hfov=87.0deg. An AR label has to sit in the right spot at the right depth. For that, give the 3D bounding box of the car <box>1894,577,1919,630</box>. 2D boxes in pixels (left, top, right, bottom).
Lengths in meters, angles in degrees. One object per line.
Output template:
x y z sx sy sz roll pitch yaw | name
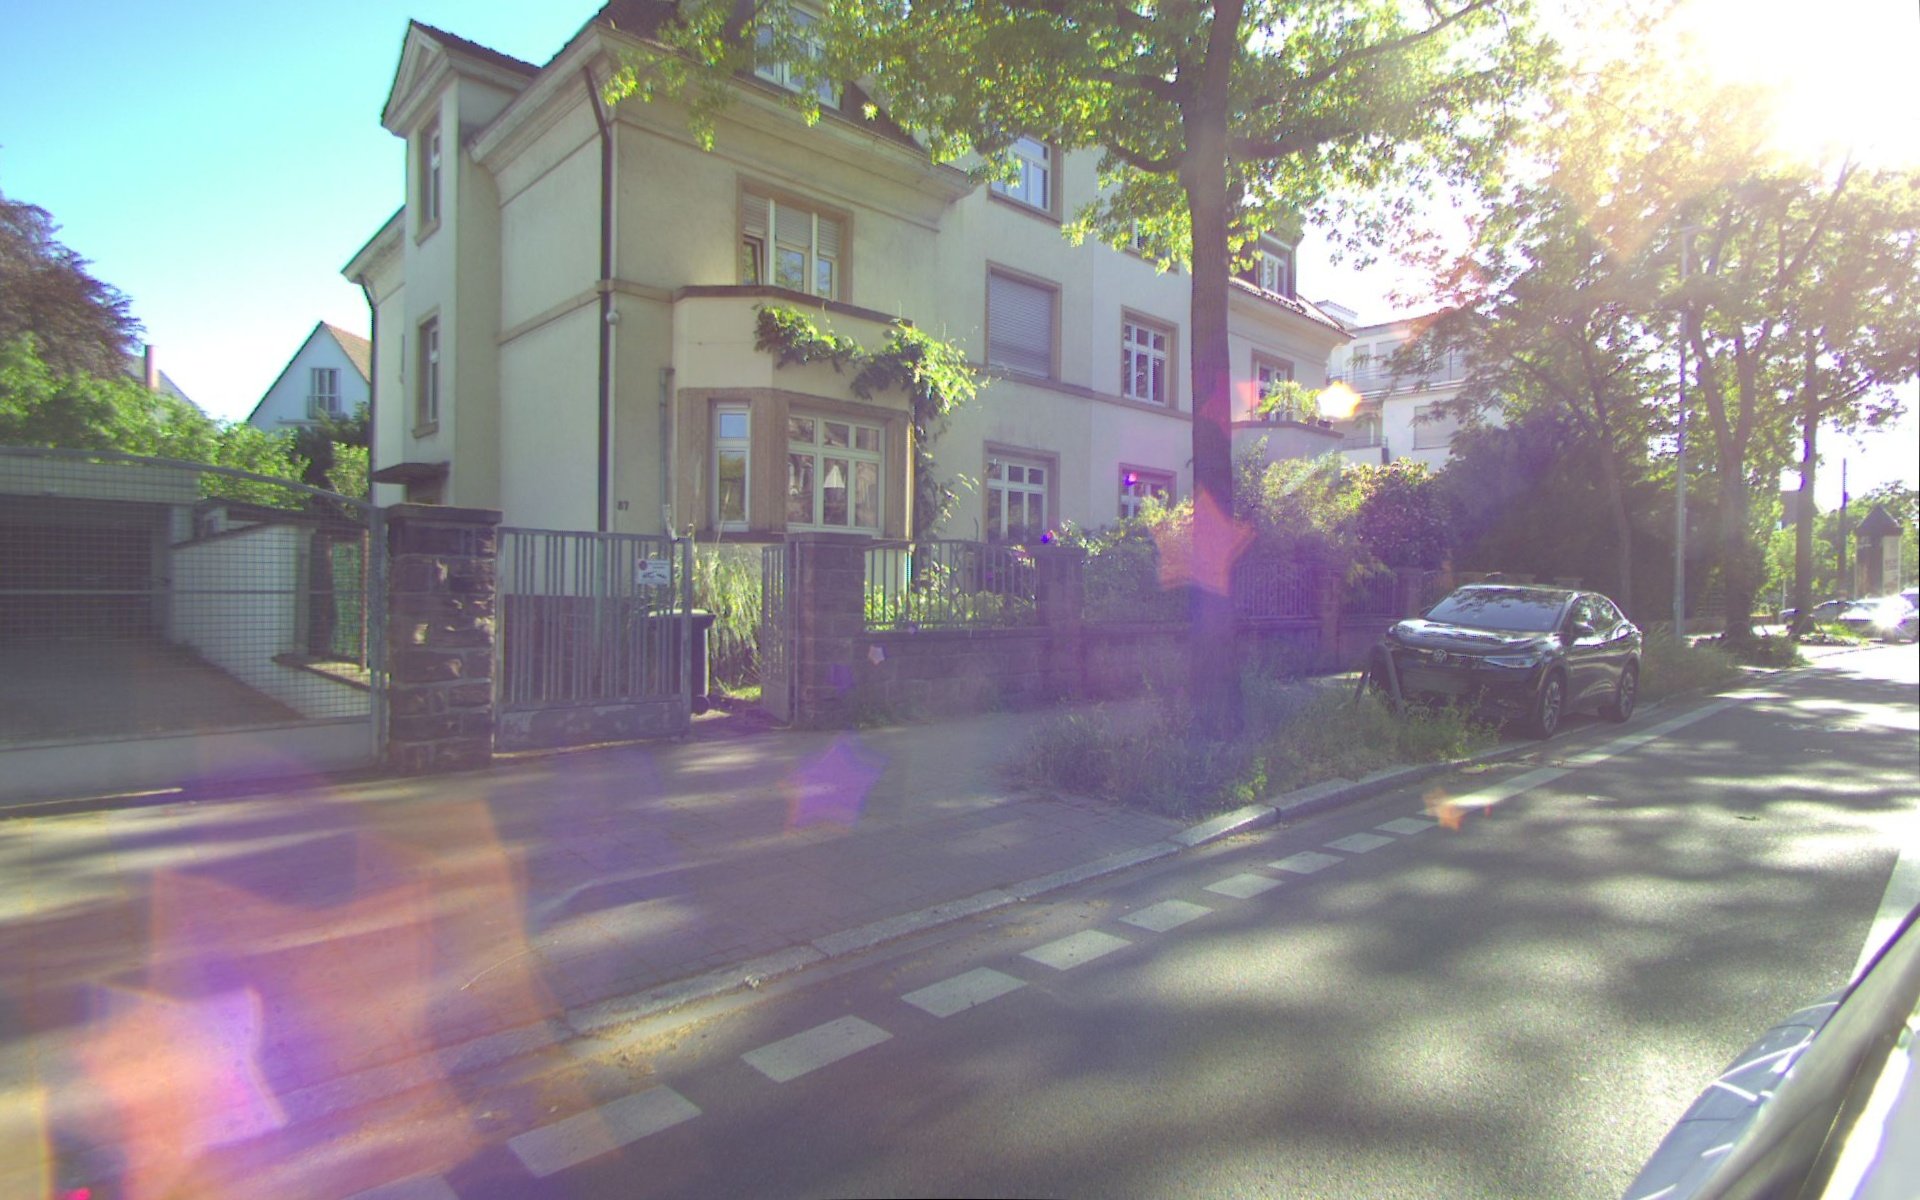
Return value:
36.762 0.124 37.875 4.663 1.919 2.128 0 1 -41 | car

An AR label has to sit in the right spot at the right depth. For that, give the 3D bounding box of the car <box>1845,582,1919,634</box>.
31.507 0.247 34.098 3.927 1.660 1.824 0 1 -38 | car

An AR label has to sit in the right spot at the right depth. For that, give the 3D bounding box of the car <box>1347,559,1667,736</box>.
6.697 0.477 12.197 4.304 1.695 1.997 1 2 -42 | car
